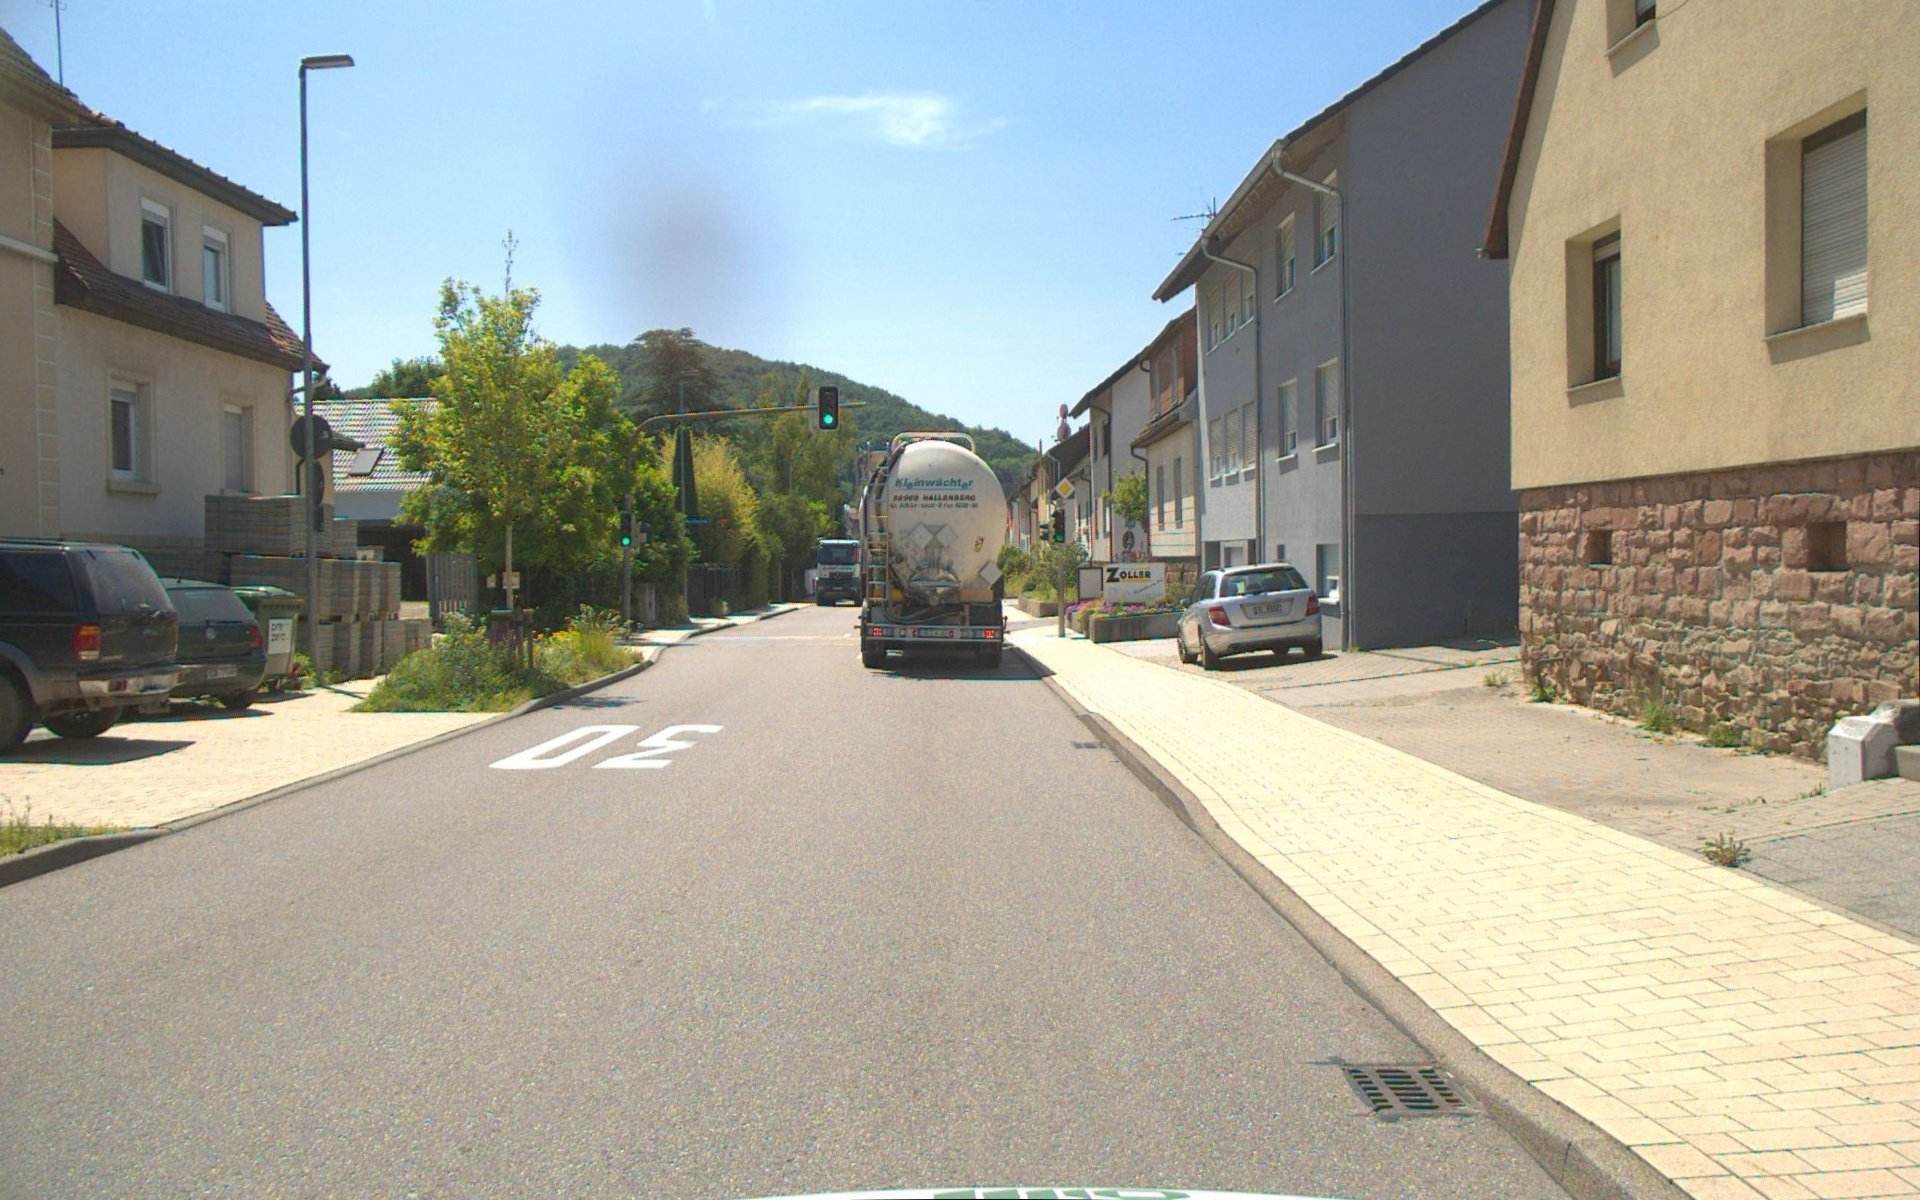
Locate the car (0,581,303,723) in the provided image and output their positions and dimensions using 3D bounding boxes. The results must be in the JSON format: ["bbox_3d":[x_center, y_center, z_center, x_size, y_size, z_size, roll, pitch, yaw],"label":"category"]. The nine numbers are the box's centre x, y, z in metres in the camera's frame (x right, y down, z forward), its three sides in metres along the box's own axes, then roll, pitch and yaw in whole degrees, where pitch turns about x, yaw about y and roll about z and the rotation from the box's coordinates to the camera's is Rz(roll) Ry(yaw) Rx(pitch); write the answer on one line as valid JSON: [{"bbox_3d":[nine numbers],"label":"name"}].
[{"bbox_3d":[-9.236,0.528,18.726,3.478,1.464,1.694,0,0,34],"label":"car"}]

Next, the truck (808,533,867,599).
[{"bbox_3d":[-6.613,-1.824,90.443,2.673,3.430,8.633,1,1,-1],"label":"truck"}]

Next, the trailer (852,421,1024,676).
[{"bbox_3d":[-0.557,-0.877,31.785,2.740,4.071,10.319,0,1,-2],"label":"trailer"}]

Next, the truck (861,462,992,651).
[{"bbox_3d":[-0.837,-0.970,38.527,2.752,4.005,6.096,1,0,-2],"label":"truck"}]

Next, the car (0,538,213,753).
[{"bbox_3d":[-9.162,0.366,14.551,4.306,1.781,1.877,0,0,-2],"label":"car"}]

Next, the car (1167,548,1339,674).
[{"bbox_3d":[4.352,0.139,25.242,1.755,1.567,4.520,-6,0,1],"label":"car"}]

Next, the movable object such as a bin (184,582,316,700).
[{"bbox_3d":[-8.793,0.484,20.557,0.968,1.342,1.405,1,3,3],"label":"movable object such as a bin"}]

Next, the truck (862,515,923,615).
[{"bbox_3d":[-3.318,-1.706,84.111,2.789,4.760,11.337,0,0,-1],"label":"truck"}]
